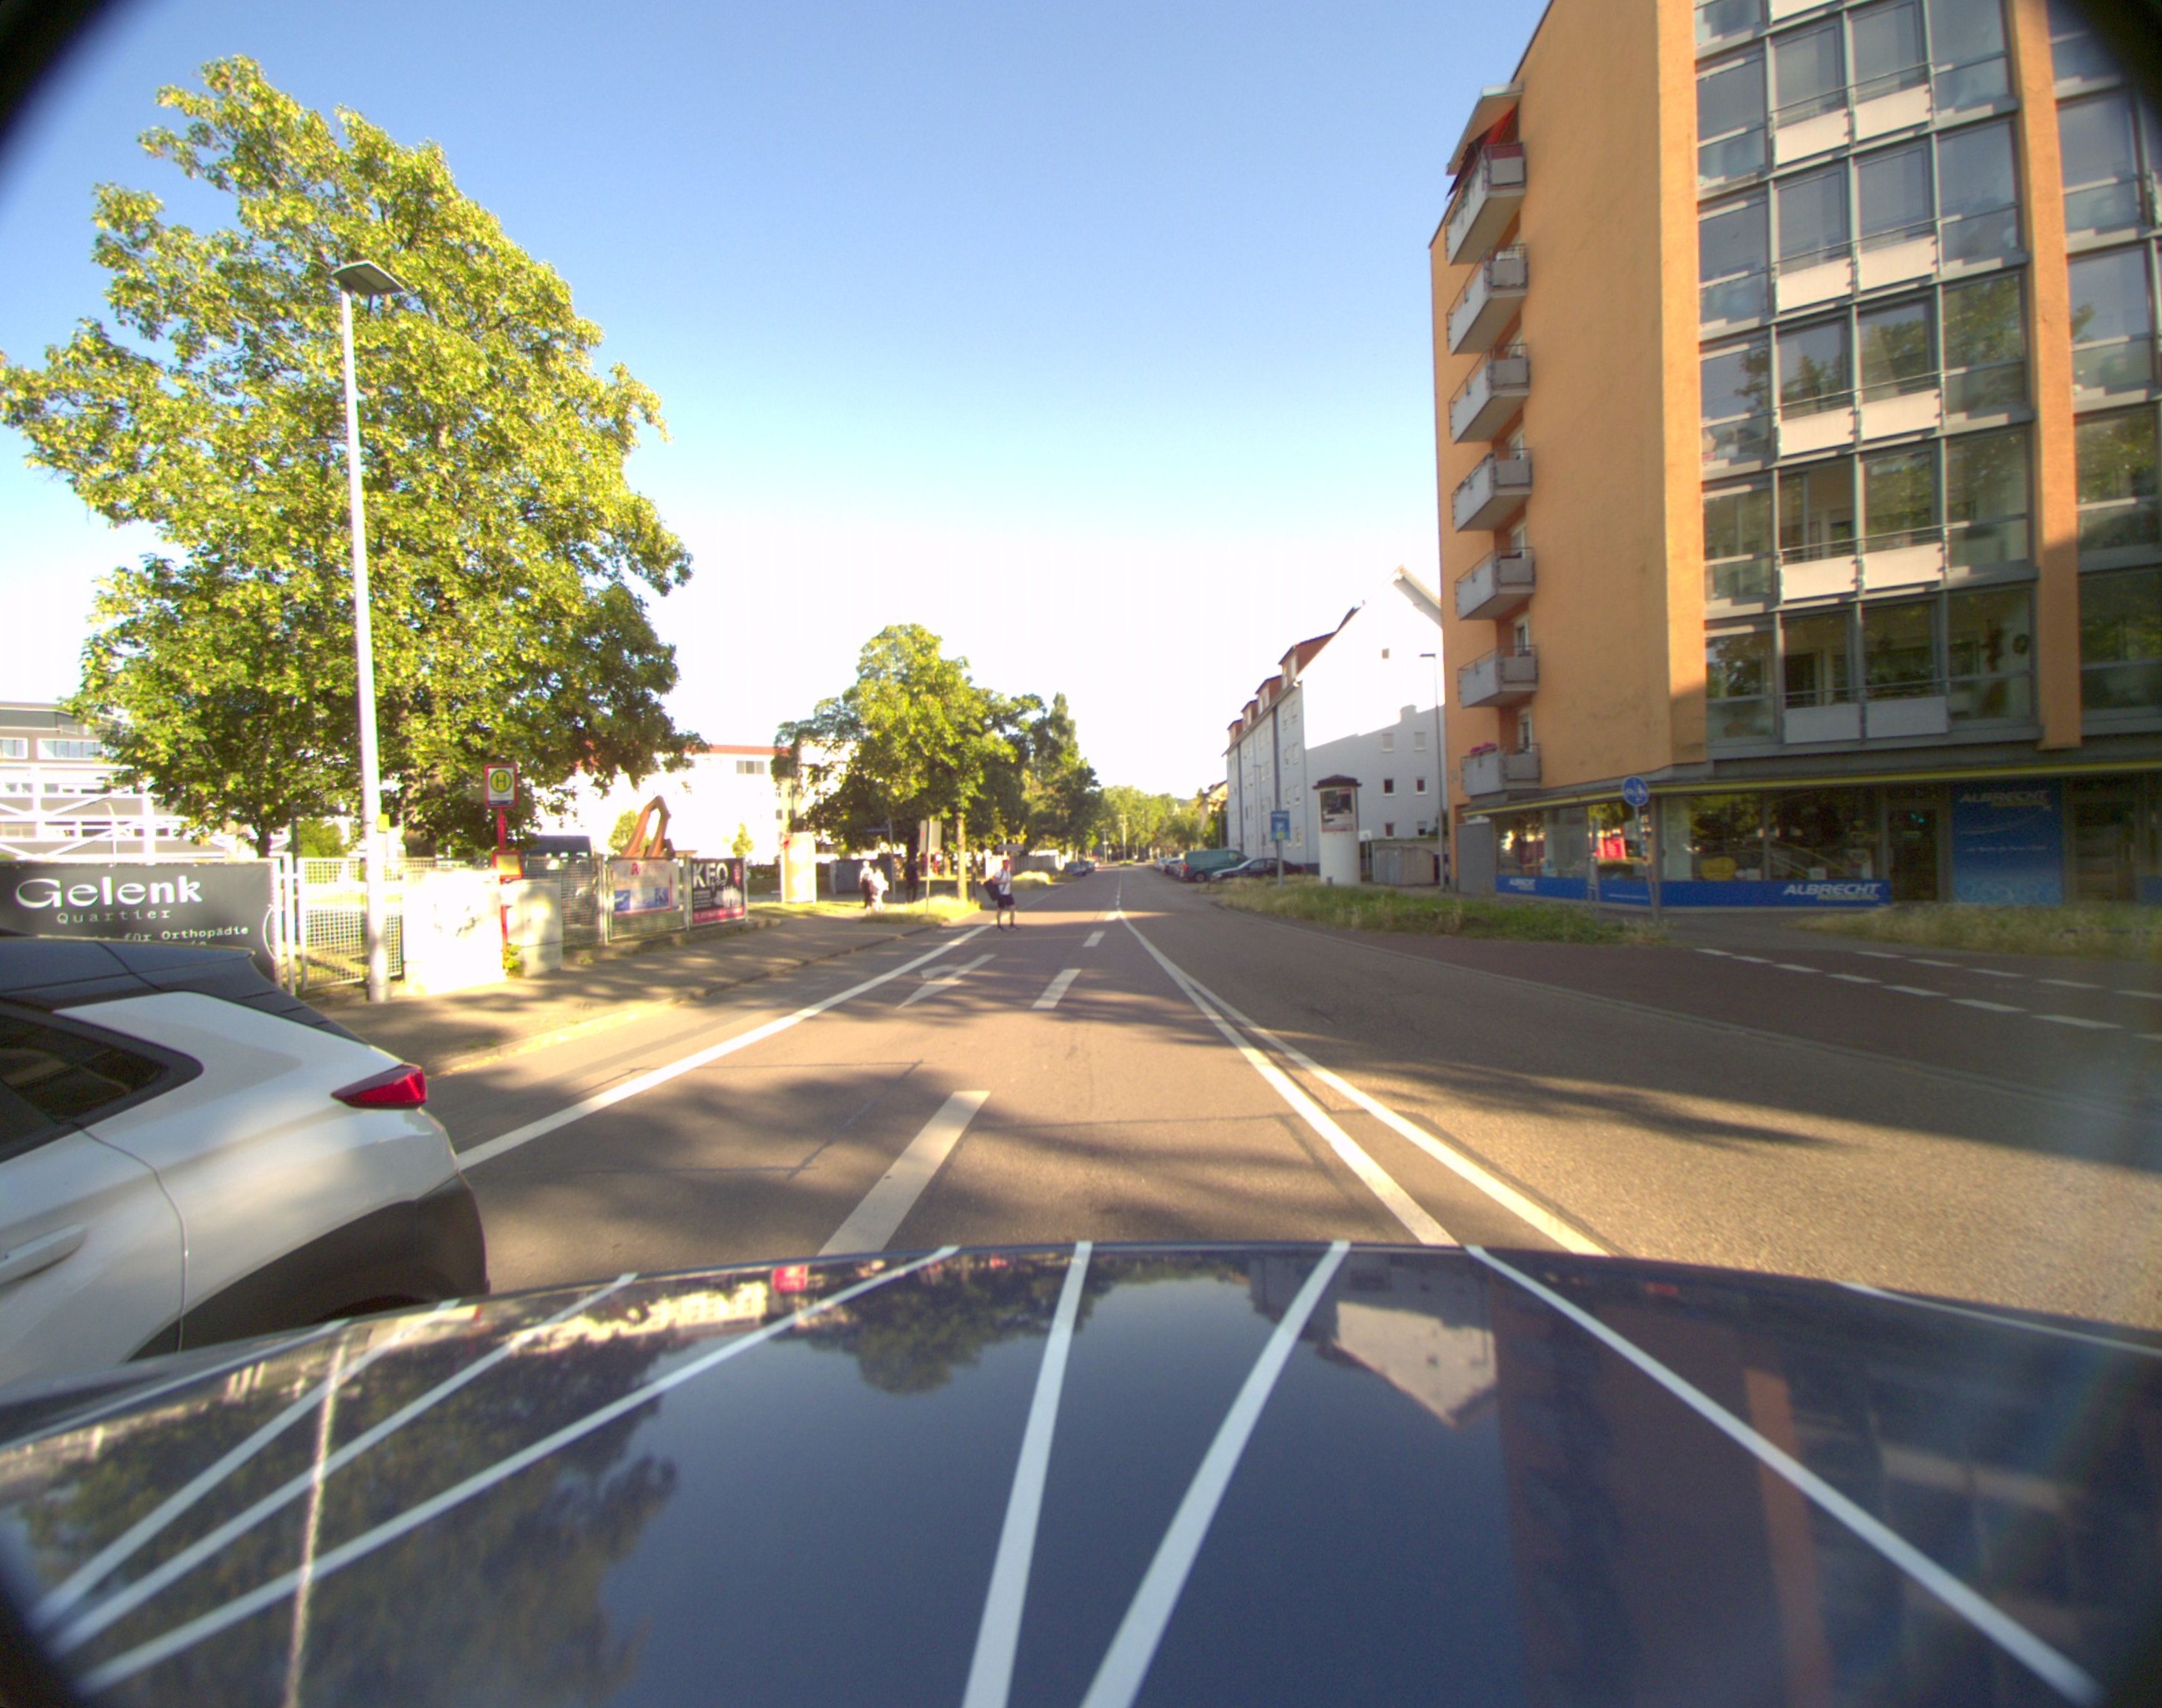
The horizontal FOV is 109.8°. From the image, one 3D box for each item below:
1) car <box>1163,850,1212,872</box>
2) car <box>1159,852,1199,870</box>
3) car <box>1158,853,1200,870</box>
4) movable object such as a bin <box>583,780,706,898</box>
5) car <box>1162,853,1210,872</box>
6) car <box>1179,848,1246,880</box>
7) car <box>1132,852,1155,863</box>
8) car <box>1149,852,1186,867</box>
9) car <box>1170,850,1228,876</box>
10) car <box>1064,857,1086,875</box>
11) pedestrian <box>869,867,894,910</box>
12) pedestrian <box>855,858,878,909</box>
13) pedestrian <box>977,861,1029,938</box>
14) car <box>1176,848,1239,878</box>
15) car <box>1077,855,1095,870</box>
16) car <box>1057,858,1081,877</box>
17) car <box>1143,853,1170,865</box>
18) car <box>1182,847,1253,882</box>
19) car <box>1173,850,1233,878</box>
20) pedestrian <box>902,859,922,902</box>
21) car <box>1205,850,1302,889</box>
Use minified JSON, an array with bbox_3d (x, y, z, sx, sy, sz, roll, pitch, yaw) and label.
[{"bbox_3d":[9.271,0.614,66.486,4.117,1.762,1.757,-2,1,5],"label":"car"},{"bbox_3d":[10.256,0.731,80.065,4.071,1.741,1.899,-2,1,5],"label":"car"},{"bbox_3d":[10.304,0.762,79.930,4.257,1.564,1.867,-2,1,5],"label":"car"},{"bbox_3d":[-22.233,-0.698,38.548,3.986,5.447,6.016,-3,1,-42],"label":"movable object such as a bin"},{"bbox_3d":[9.564,0.779,69.373,4.257,1.564,1.867,-2,1,5],"label":"car"},{"bbox_3d":[8.352,0.628,48.585,3.995,1.805,2.000,-2,1,5],"label":"car"},{"bbox_3d":[9.699,0.598,118.221,3.538,1.564,1.867,-2,1,5],"label":"car"},{"bbox_3d":[10.219,0.652,90.188,4.257,1.564,1.867,-2,1,5],"label":"car"},{"bbox_3d":[8.744,0.667,56.436,4.071,1.741,1.899,-2,1,5],"label":"car"},{"bbox_3d":[-0.591,1.156,73.942,1.998,1.521,3.999,-2,1,1],"label":"car"},{"bbox_3d":[-6.814,1.170,25.990,0.609,1.426,0.639,-2,1,1],"label":"pedestrian"},{"bbox_3d":[-7.506,1.011,26.603,0.609,1.727,0.638,-2,1,-5],"label":"pedestrian"},{"bbox_3d":[-1.881,1.053,18.186,0.903,1.727,1.086,-3,1,-21],"label":"pedestrian"},{"bbox_3d":[8.496,0.592,51.341,3.995,1.805,2.000,-2,1,5],"label":"car"},{"bbox_3d":[0.565,0.957,87.975,1.998,1.521,3.999,-2,1,1],"label":"car"},{"bbox_3d":[-1.093,1.224,69.594,1.998,1.521,3.999,-2,1,1],"label":"car"},{"bbox_3d":[10.463,0.712,105.241,3.538,1.564,1.867,-2,1,5],"label":"car"},{"bbox_3d":[8.190,0.598,45.937,3.996,1.936,2.000,-2,1,4],"label":"car"},{"bbox_3d":[8.567,0.673,53.692,4.059,1.805,1.937,-2,1,5],"label":"car"},{"bbox_3d":[-6.658,1.044,29.946,0.696,1.659,0.638,-2,1,-11],"label":"pedestrian"},{"bbox_3d":[8.293,0.735,36.872,4.423,1.652,2.001,-2,1,9],"label":"car"}]
